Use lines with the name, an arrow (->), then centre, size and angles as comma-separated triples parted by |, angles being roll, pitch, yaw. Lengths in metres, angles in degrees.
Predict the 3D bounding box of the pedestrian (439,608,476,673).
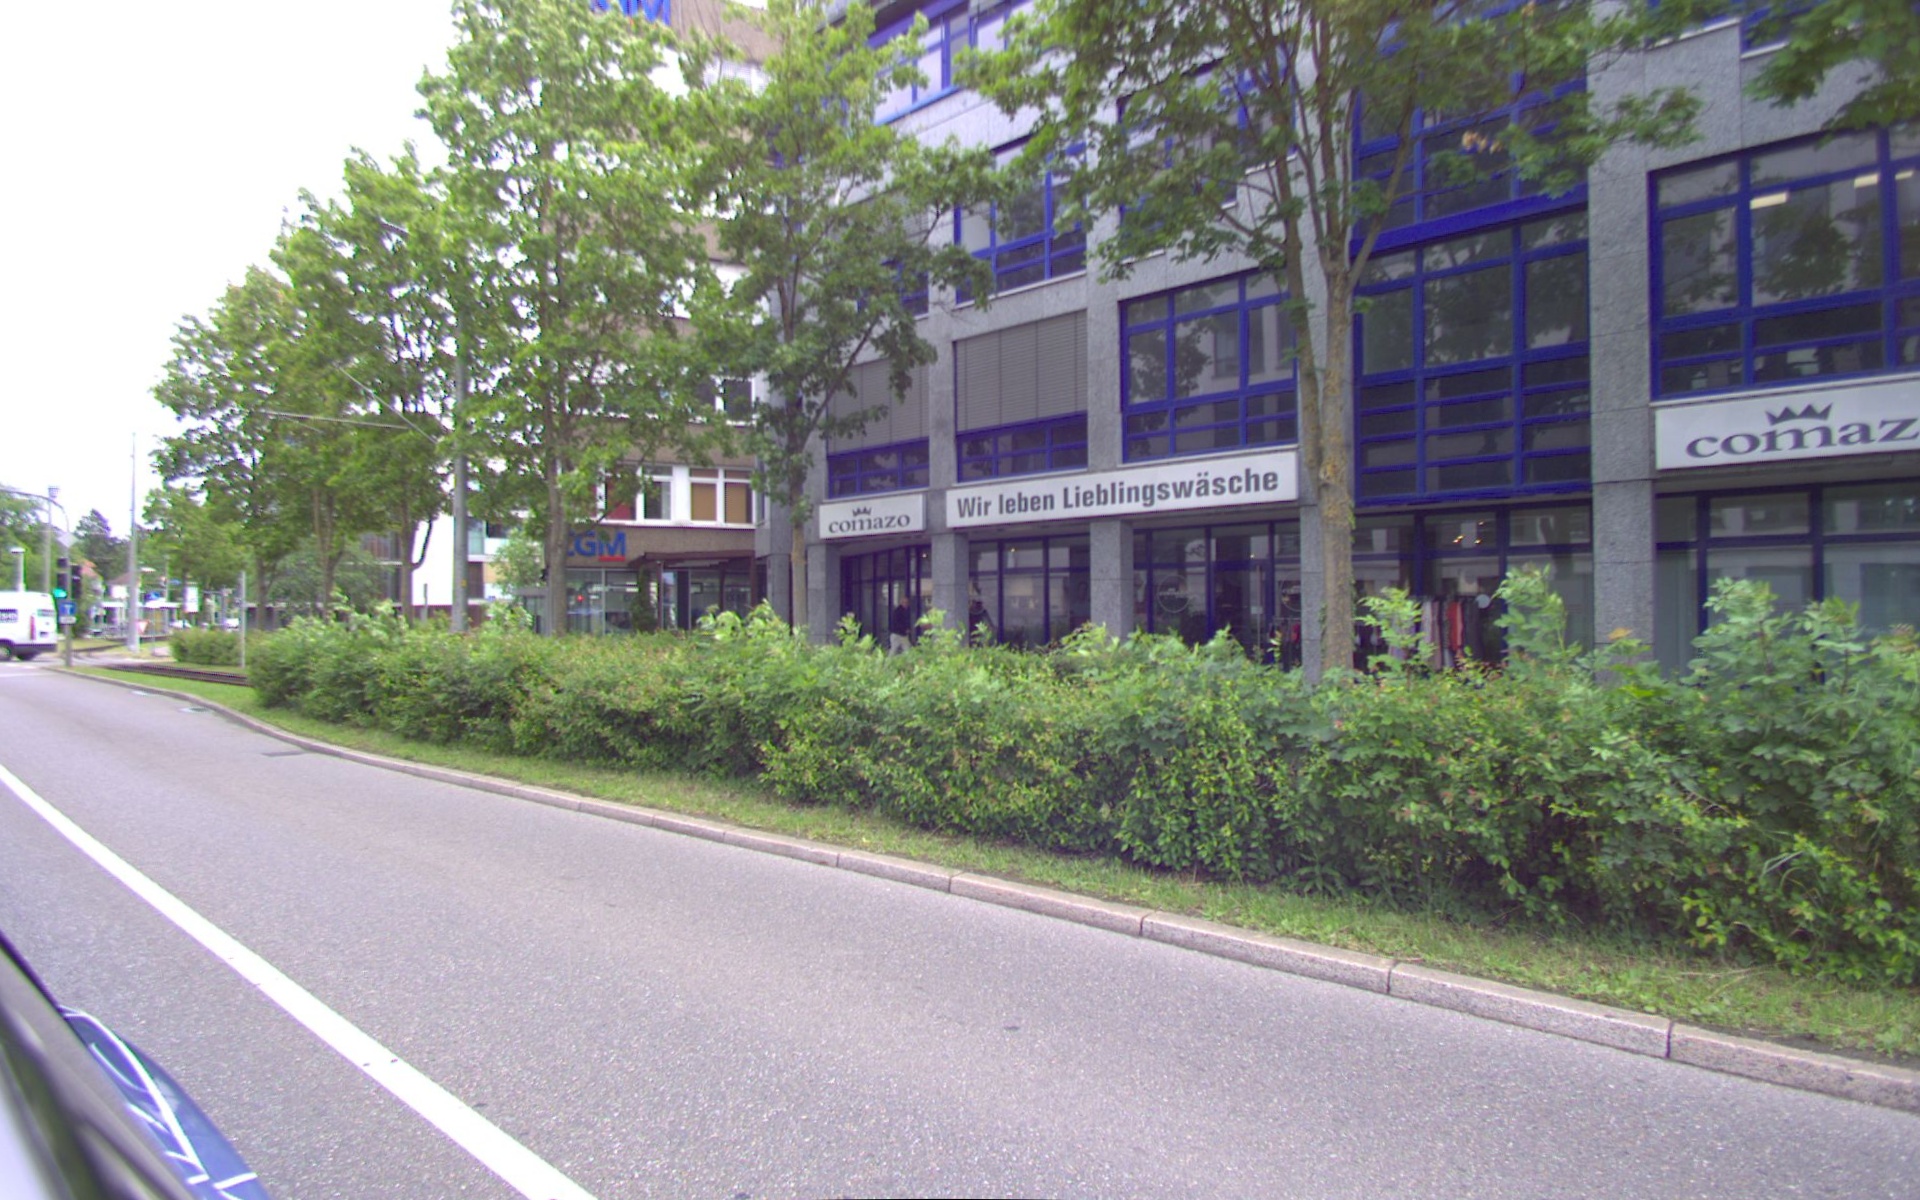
pedestrian -> -14.431, 1.157, 29.066 | 0.730, 1.819, 0.672 | -1, 0, 37

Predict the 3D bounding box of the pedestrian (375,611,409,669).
pedestrian -> -19.649, 1.370, 35.001 | 0.731, 1.938, 0.805 | -1, 0, 40

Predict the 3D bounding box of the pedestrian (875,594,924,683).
pedestrian -> -1.317, 0.818, 22.122 | 0.731, 1.908, 0.766 | -1, 0, 40

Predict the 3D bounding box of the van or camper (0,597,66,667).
van or camper -> -39.923, 1.277, 40.388 | 6.047, 2.754, 2.121 | 0, 0, -17
